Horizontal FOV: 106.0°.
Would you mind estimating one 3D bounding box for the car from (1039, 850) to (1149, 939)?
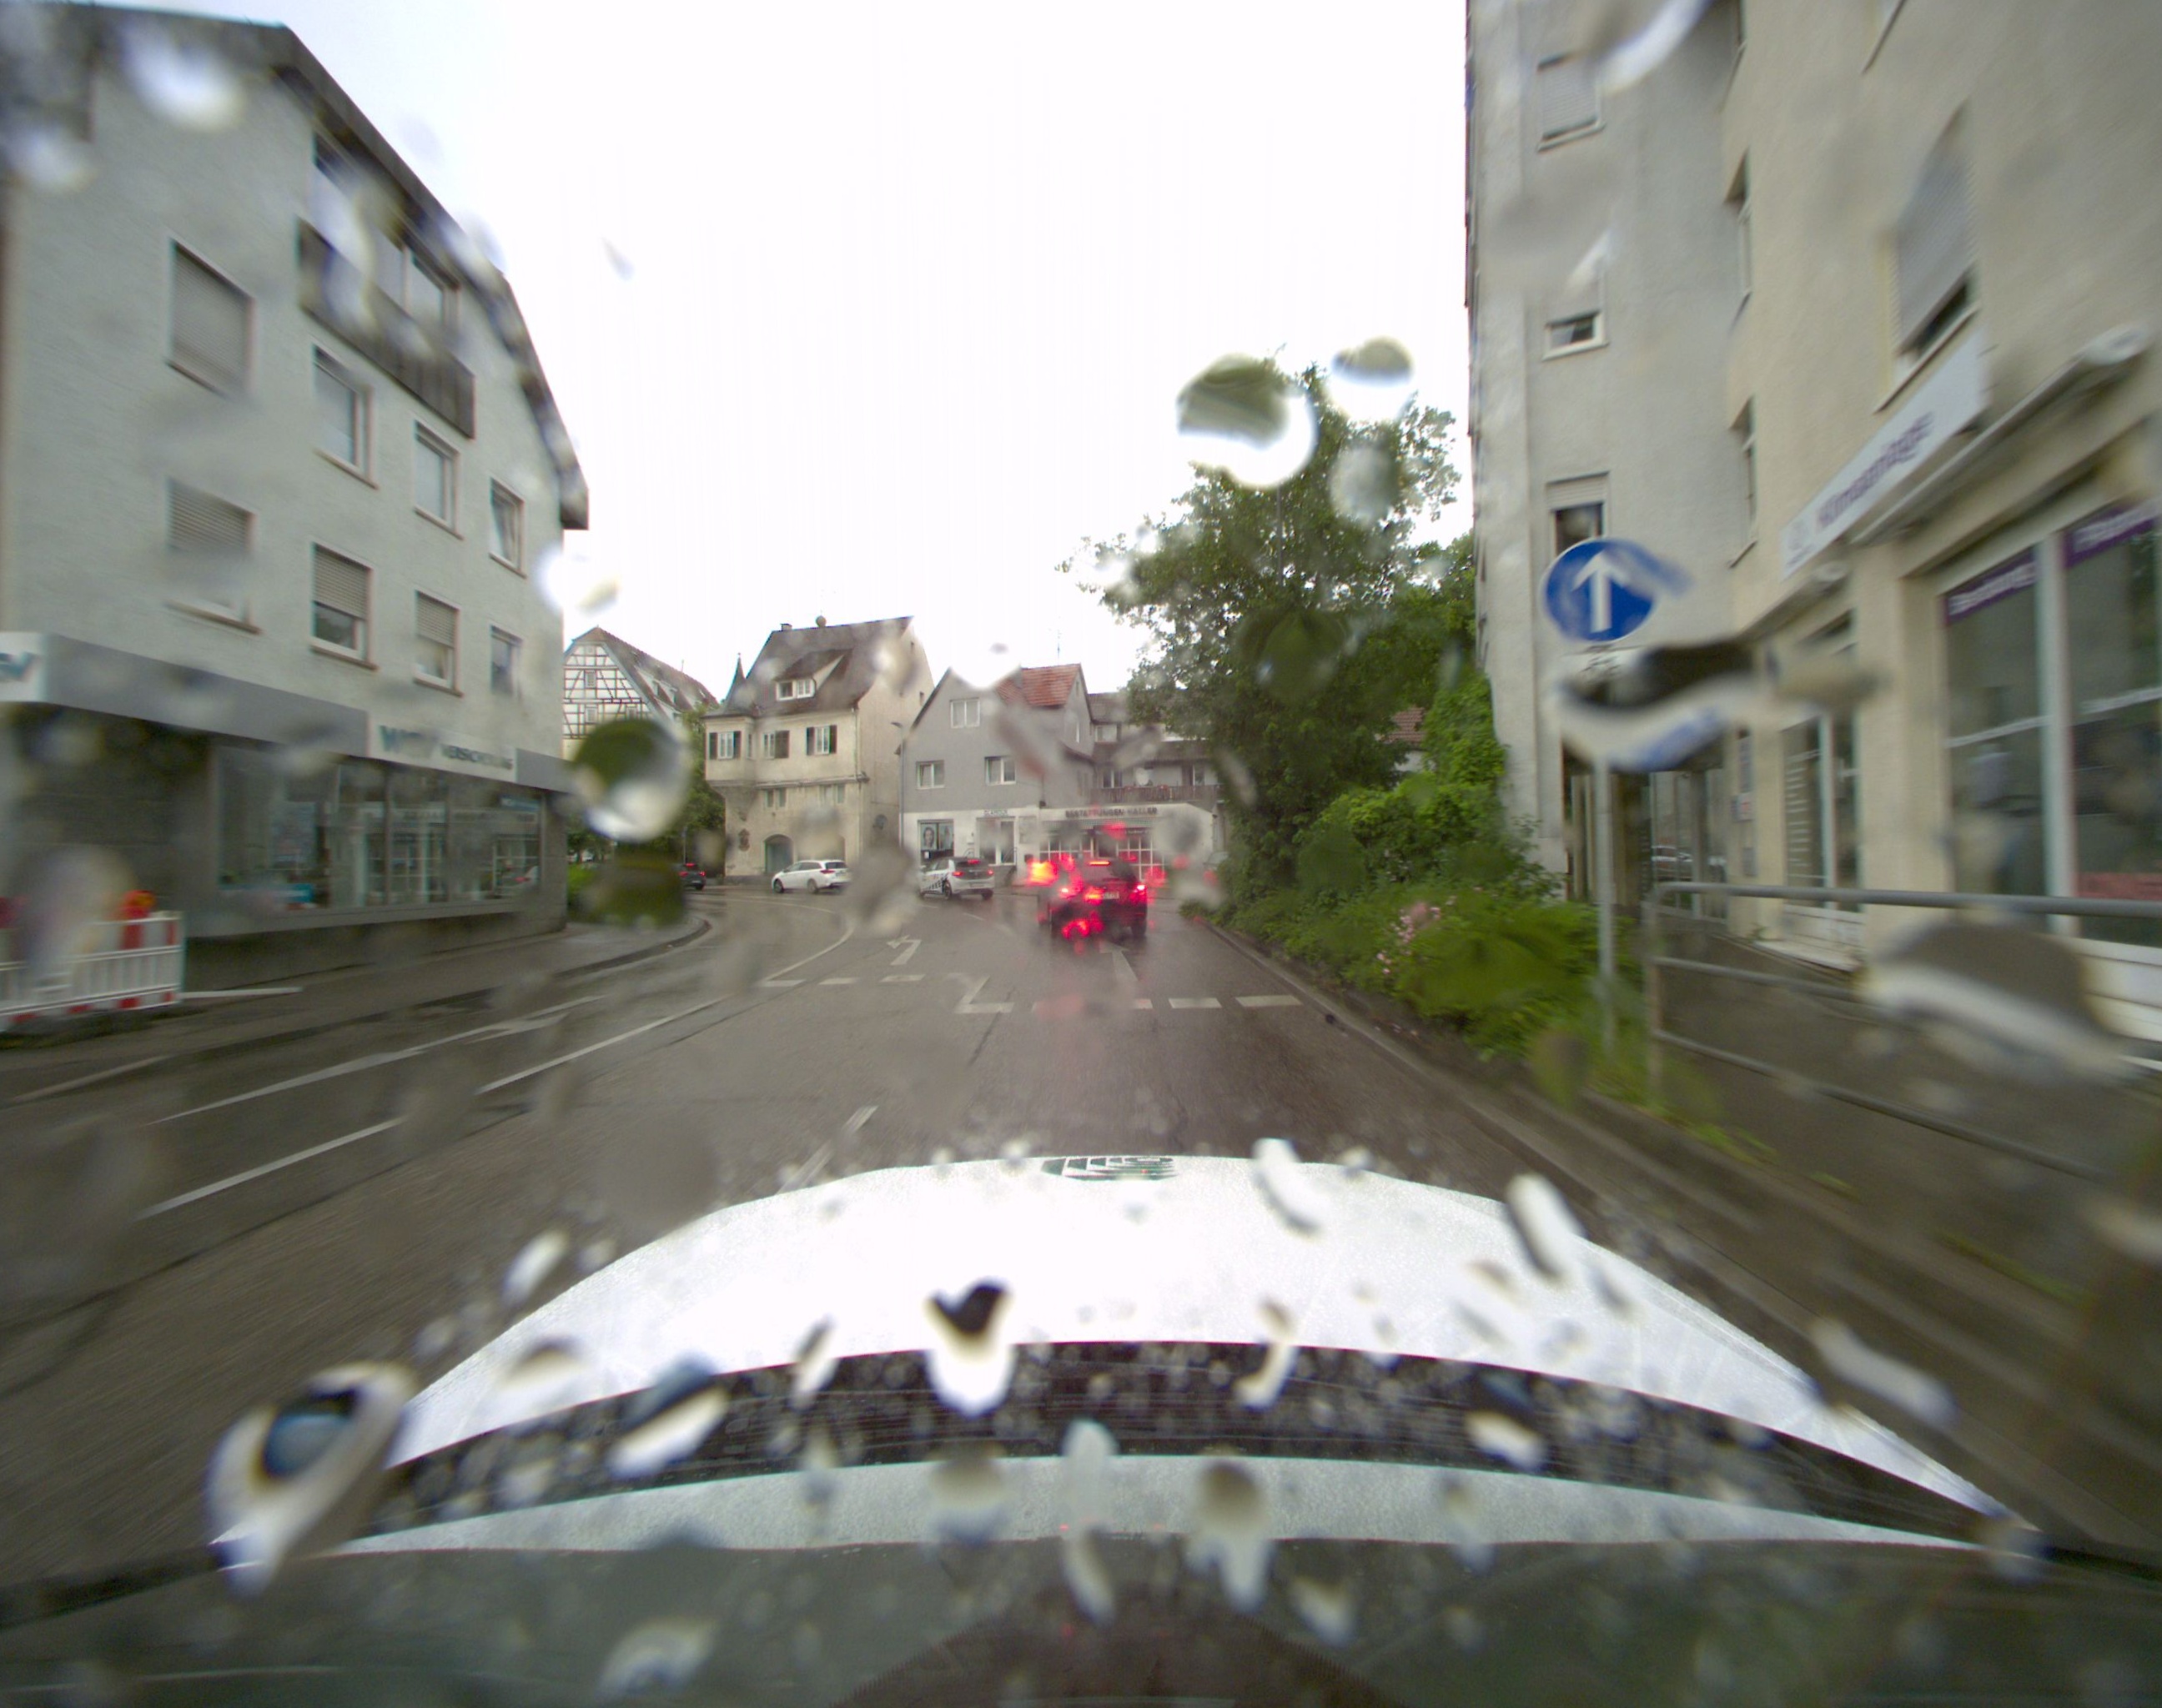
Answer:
[{"bbox_3d":[0.120,0.681,16.218,1.729,1.450,4.233,-1,1,-5],"label":"car"}]

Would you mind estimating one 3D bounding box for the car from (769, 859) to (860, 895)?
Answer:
[{"bbox_3d":[-12.056,1.012,36.782,4.110,1.465,1.803,0,1,35],"label":"car"}]

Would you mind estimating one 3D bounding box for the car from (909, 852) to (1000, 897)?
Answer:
[{"bbox_3d":[-4.826,0.731,30.574,1.802,1.517,4.197,-2,1,-33],"label":"car"}]

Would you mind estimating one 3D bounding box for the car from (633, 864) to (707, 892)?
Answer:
[{"bbox_3d":[-21.391,1.226,42.394,3.720,1.361,1.533,0,1,28],"label":"car"}]

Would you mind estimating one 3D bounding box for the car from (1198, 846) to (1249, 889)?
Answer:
[{"bbox_3d":[6.594,0.569,37.269,1.910,1.727,4.687,-1,1,14],"label":"car"}]
